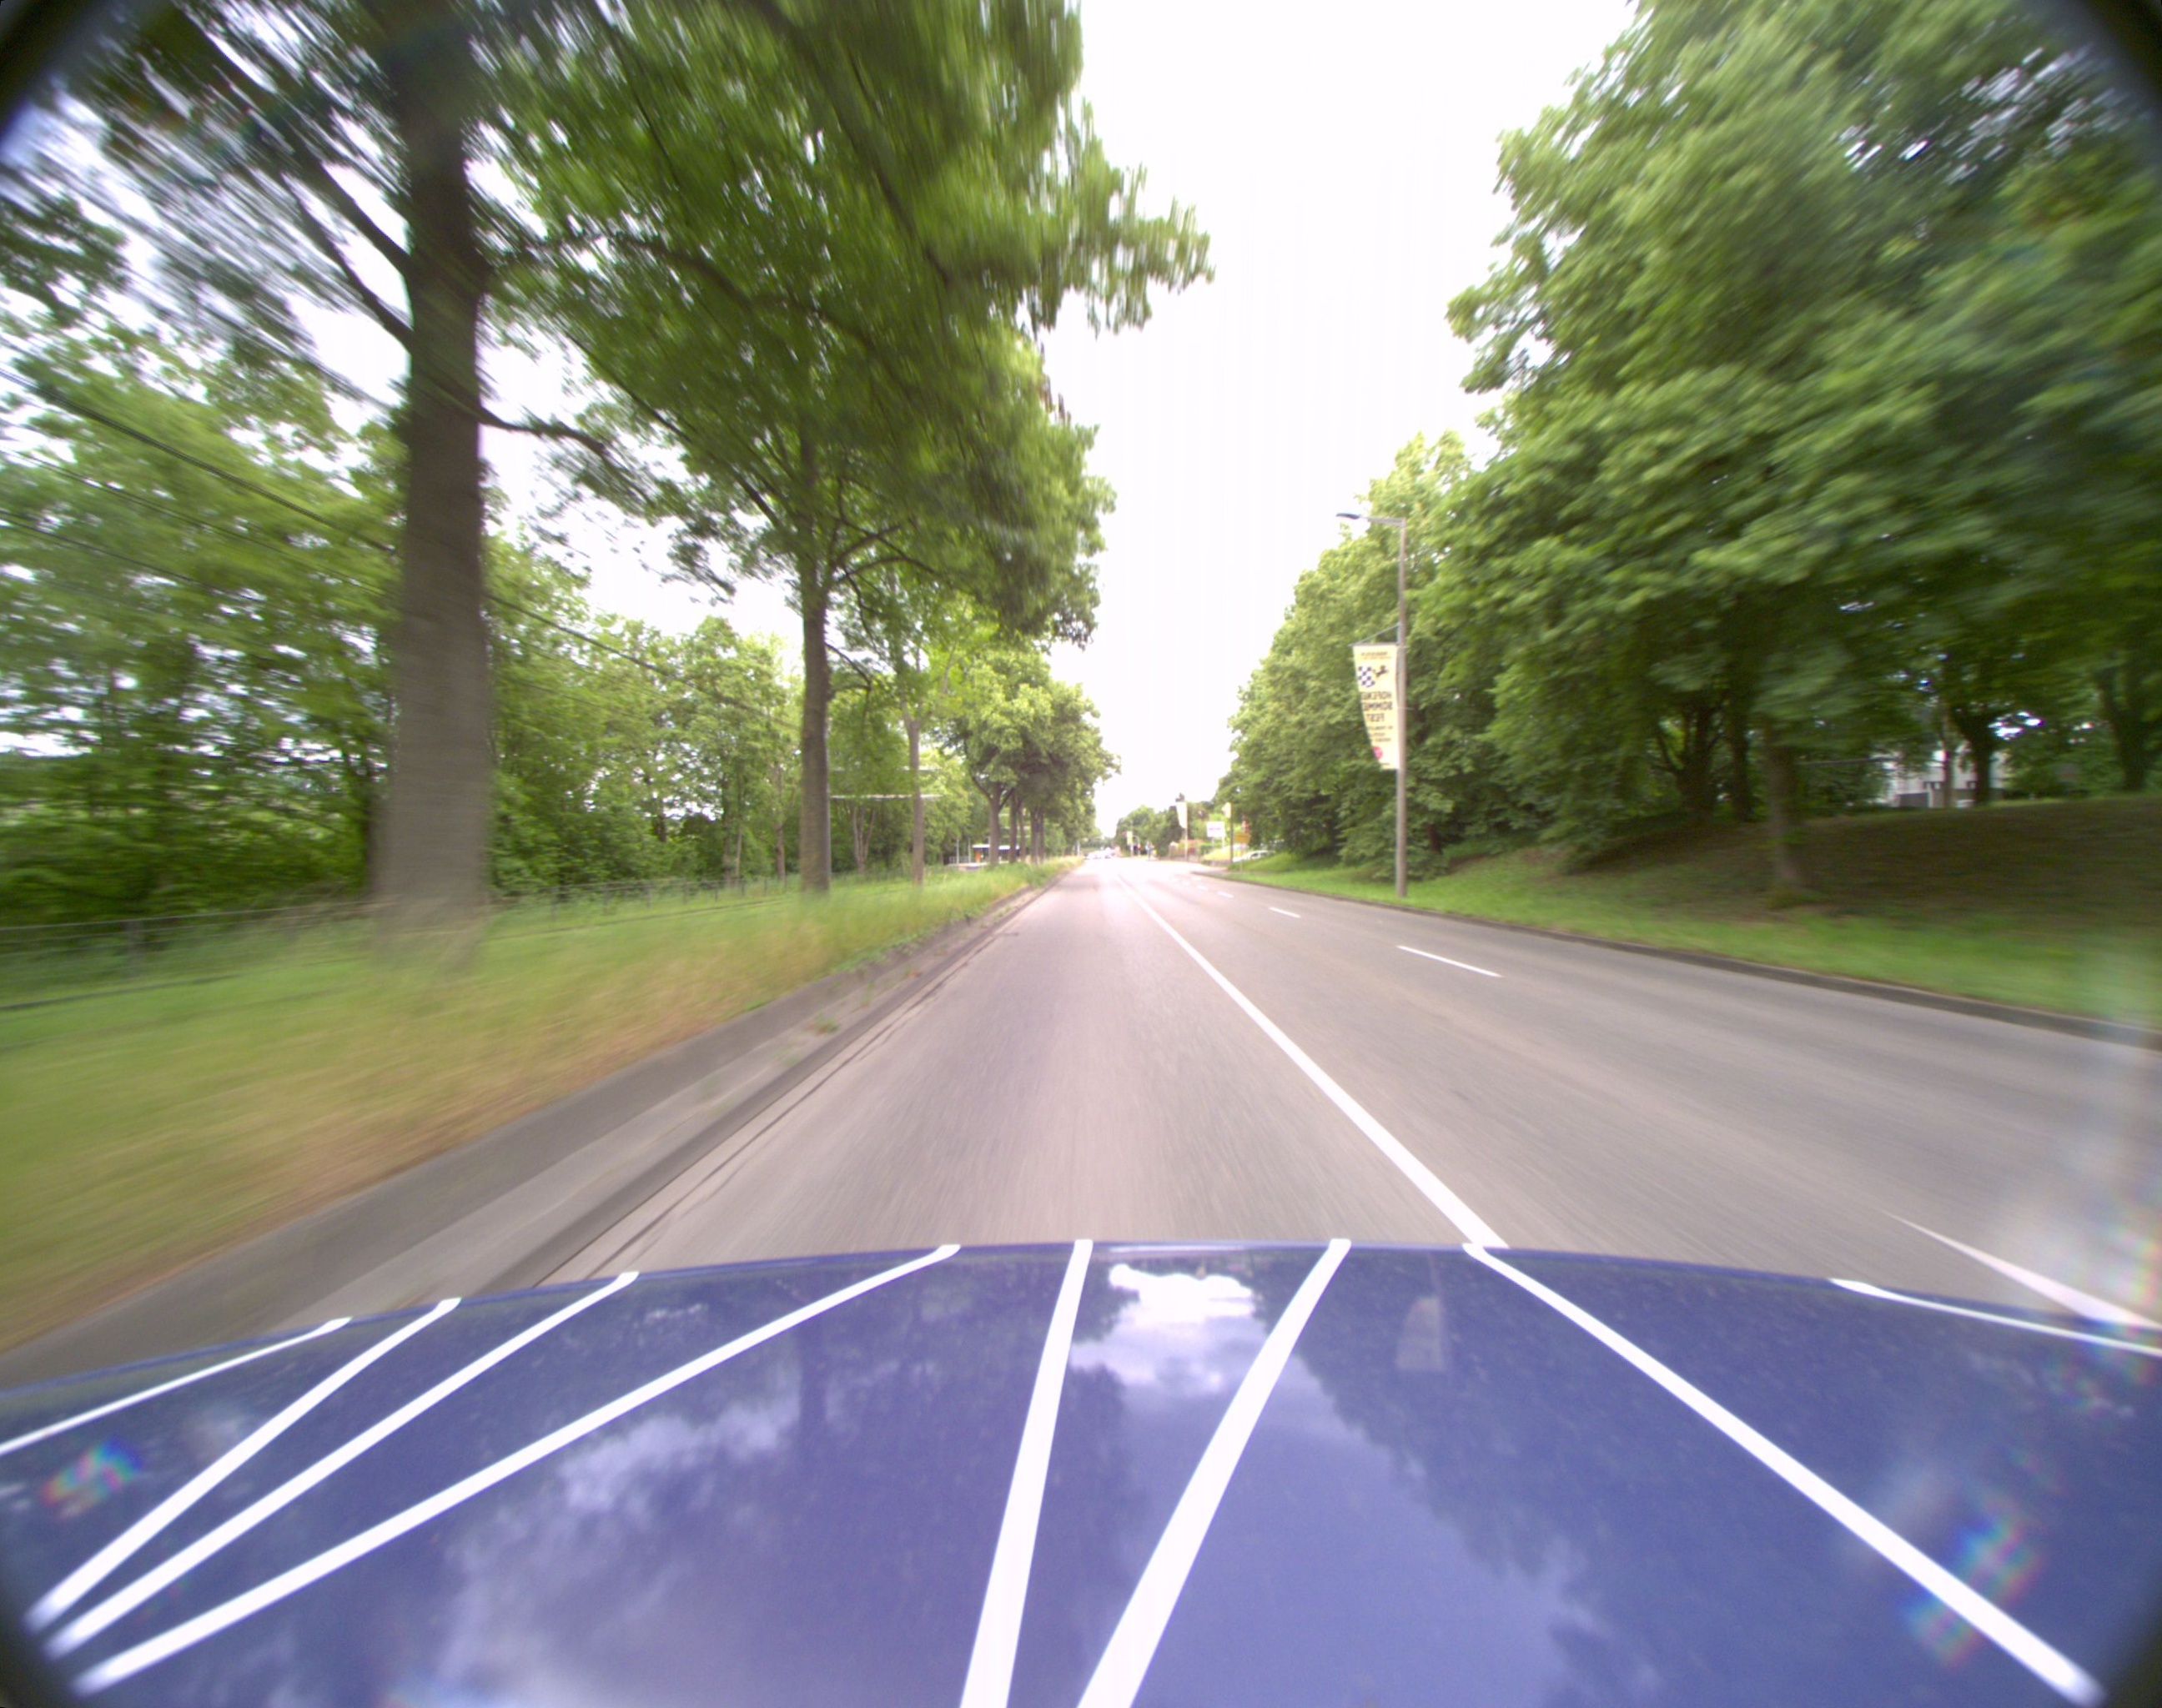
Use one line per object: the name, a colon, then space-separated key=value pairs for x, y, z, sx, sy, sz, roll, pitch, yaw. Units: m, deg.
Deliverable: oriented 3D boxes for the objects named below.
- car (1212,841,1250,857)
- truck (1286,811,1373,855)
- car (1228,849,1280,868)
car: x=16.963 y=-0.561 z=86.025 sx=3.905 sy=1.608 sz=1.879 roll=-2 pitch=1 yaw=1
truck: x=22.283 y=-1.840 z=68.401 sx=6.923 sy=3.609 sz=2.658 roll=-2 pitch=1 yaw=1
car: x=15.509 y=0.425 z=68.328 sx=4.220 sy=1.483 sz=1.749 roll=-2 pitch=-1 yaw=-2
